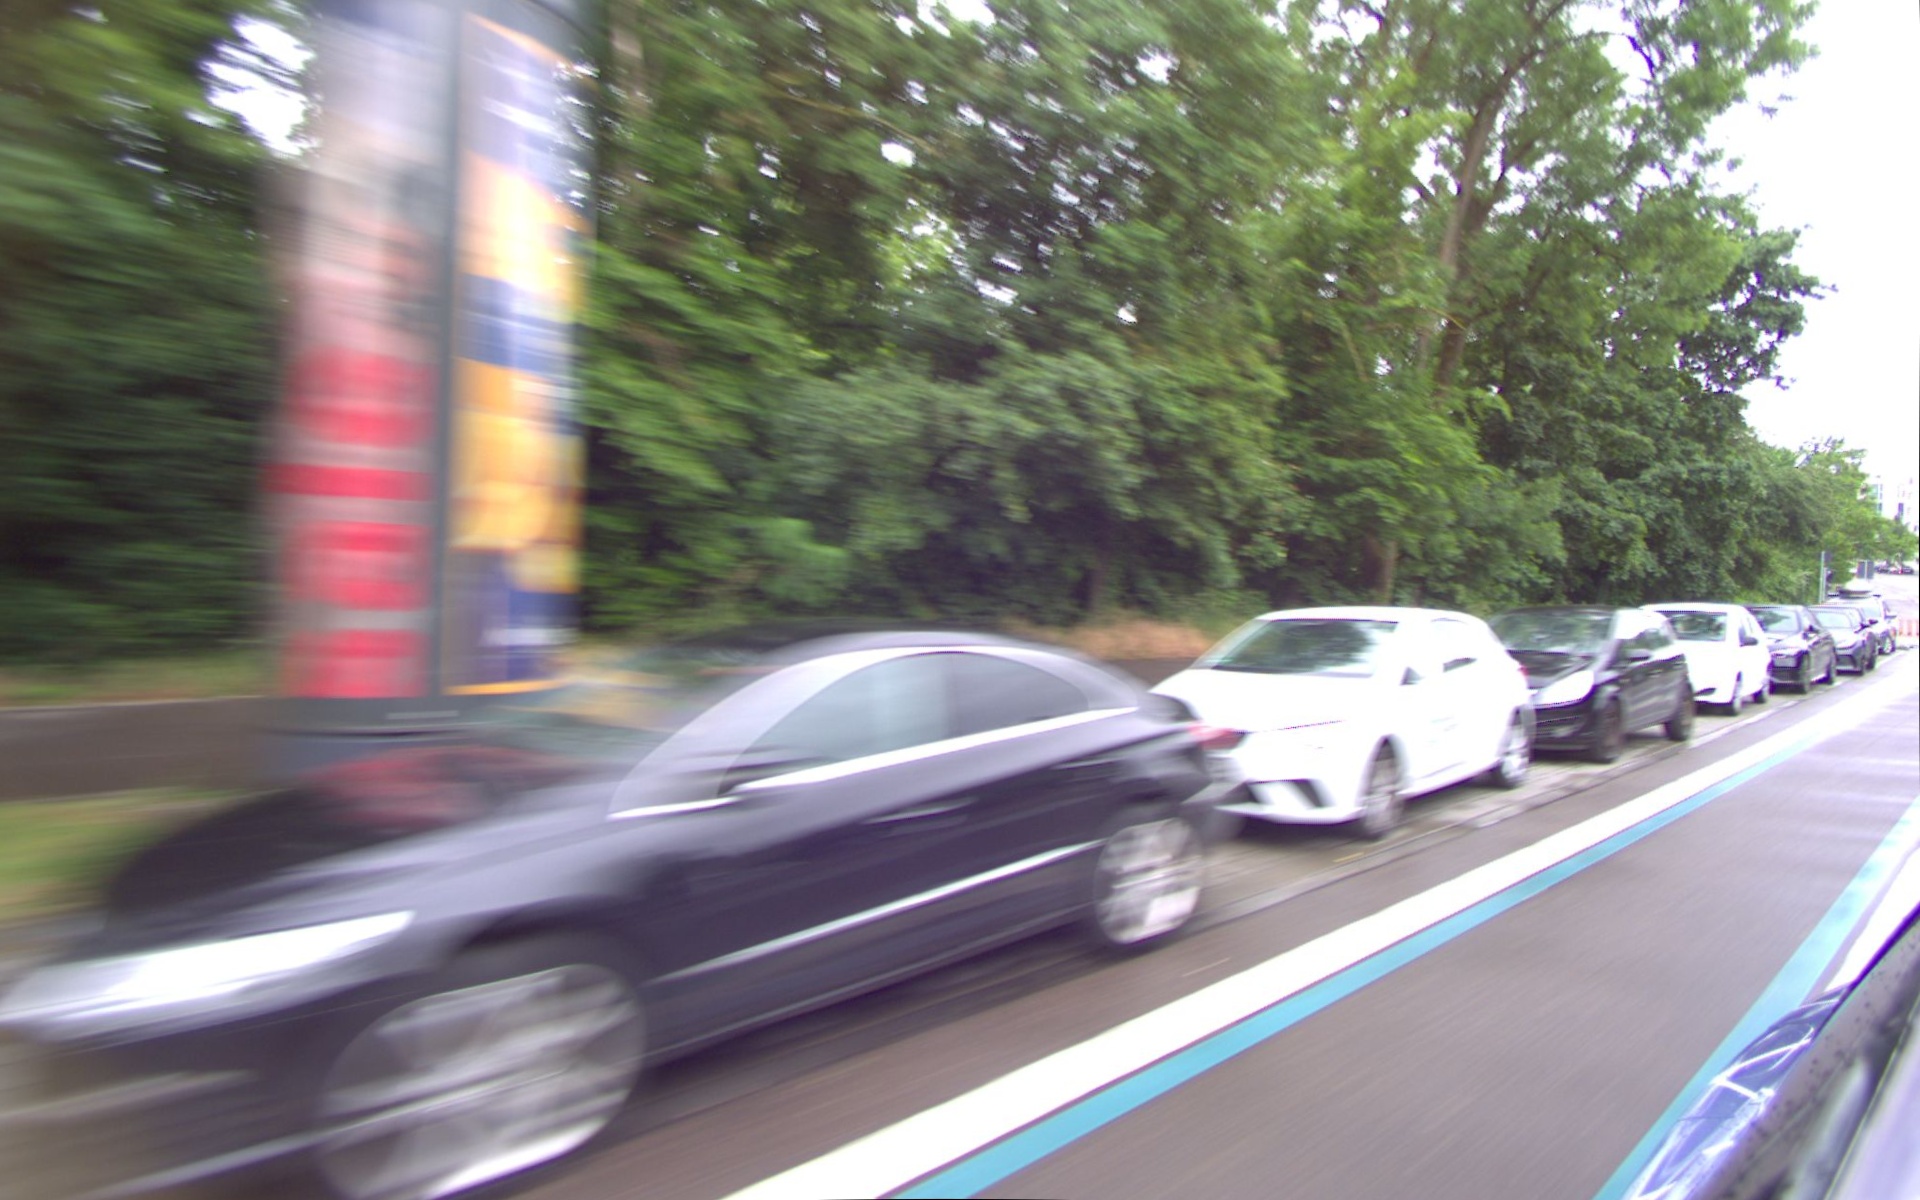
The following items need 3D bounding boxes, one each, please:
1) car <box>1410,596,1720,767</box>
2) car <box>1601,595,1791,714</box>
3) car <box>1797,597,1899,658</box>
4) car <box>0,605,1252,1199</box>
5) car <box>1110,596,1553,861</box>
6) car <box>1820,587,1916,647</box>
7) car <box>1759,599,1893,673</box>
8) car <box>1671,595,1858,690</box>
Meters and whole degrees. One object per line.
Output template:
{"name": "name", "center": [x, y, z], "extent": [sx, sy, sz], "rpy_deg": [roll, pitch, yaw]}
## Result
{"name": "car", "center": [6.473, 0.718, 10.673], "extent": [3.831, 1.484, 1.661], "rpy_deg": [0, -1, -41]}
{"name": "car", "center": [10.609, 0.676, 14.501], "extent": [3.614, 1.479, 1.561], "rpy_deg": [0, 0, -43]}
{"name": "car", "center": [22.825, 0.651, 25.973], "extent": [3.643, 1.431, 1.697], "rpy_deg": [0, 0, -45]}
{"name": "car", "center": [-0.815, 0.739, 3.896], "extent": [4.371, 1.411, 1.753], "rpy_deg": [0, -1, -43]}
{"name": "car", "center": [2.979, 0.718, 7.651], "extent": [3.934, 1.485, 1.619], "rpy_deg": [0, 0, -44]}
{"name": "car", "center": [26.414, 0.448, 29.402], "extent": [4.182, 1.635, 1.823], "rpy_deg": [0, 0, -45]}
{"name": "car", "center": [18.866, 0.699, 21.983], "extent": [4.314, 1.417, 1.854], "rpy_deg": [0, 0, -45]}
{"name": "car", "center": [14.450, 0.655, 18.086], "extent": [4.669, 1.473, 1.859], "rpy_deg": [0, 0, -42]}
